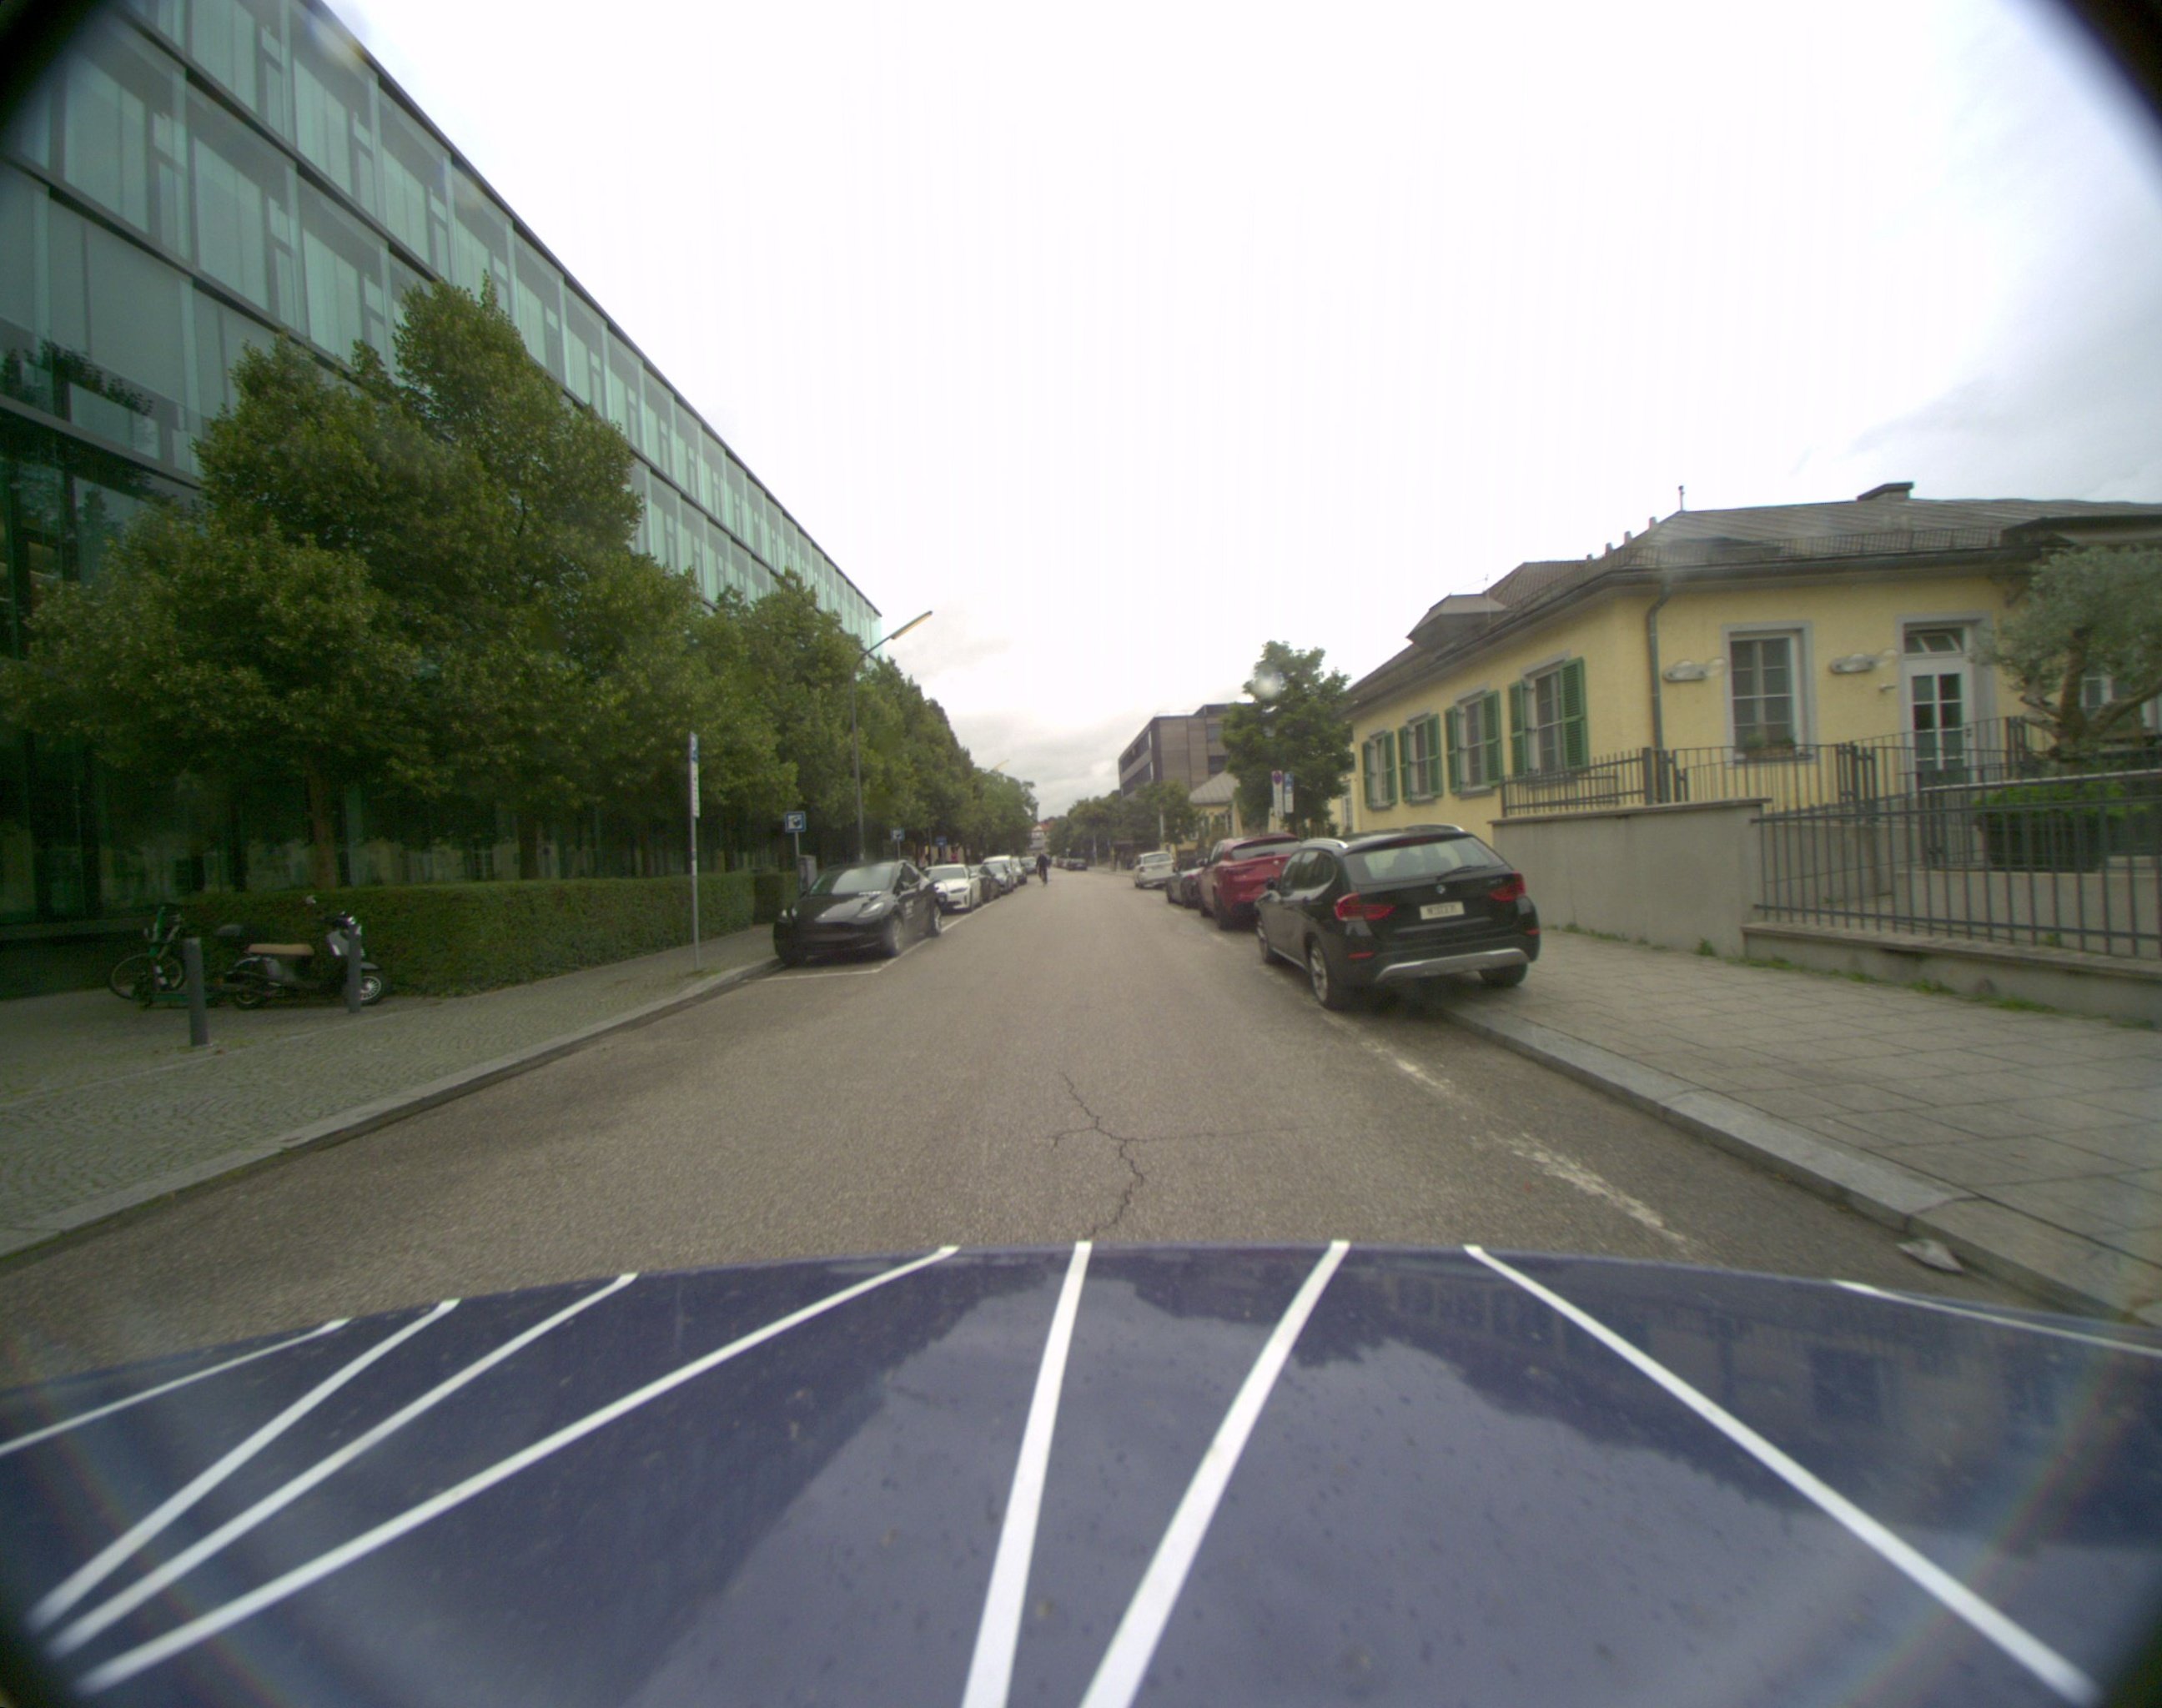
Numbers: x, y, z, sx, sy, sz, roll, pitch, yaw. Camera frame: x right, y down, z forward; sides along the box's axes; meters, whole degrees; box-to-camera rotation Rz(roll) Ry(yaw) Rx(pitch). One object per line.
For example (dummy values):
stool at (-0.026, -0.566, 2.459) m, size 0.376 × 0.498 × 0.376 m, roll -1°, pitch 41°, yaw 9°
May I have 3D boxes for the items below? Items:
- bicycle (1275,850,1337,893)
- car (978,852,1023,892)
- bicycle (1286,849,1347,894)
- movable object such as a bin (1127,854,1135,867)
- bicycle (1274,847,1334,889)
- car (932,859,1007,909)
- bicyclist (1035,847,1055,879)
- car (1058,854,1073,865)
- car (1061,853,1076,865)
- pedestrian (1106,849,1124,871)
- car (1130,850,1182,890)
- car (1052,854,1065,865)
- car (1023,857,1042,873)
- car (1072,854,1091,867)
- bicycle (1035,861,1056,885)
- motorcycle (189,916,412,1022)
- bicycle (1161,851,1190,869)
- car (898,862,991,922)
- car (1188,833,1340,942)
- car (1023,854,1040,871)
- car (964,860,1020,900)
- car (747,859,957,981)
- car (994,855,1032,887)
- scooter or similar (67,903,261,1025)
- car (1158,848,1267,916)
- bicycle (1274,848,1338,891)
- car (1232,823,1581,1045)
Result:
bicycle at (6.512, 0.502, 22.003) m, size 1.633 × 1.130 × 0.387 m, roll -3°, pitch 1°, yaw -1°
car at (-4.234, 0.892, 40.697) m, size 1.789 × 1.884 × 4.574 m, roll -4°, pitch 0°, yaw 0°
bicycle at (6.636, 0.484, 21.455) m, size 1.494 × 1.142 × 0.642 m, roll -4°, pitch 0°, yaw 2°
movable object such as a bin at (4.696, 0.610, 71.503) m, size 0.615 × 1.102 × 0.460 m, roll -5°, pitch 1°, yaw -4°
bicycle at (6.766, 0.411, 23.083) m, size 1.632 × 1.166 × 0.466 m, roll -4°, pitch 0°, yaw 8°
car at (-4.124, 1.059, 28.928) m, size 1.967 × 1.543 × 4.849 m, roll -4°, pitch 0°, yaw 1°
bicyclist at (-1.922, 0.503, 40.959) m, size 0.780 × 1.657 × 1.035 m, roll -5°, pitch -1°, yaw 8°
car at (-2.424, 0.843, 117.732) m, size 1.999 × 1.510 × 3.998 m, roll -5°, pitch 0°, yaw -4°
car at (-1.920, 0.752, 113.209) m, size 1.999 × 1.555 × 3.998 m, roll -3°, pitch 0°, yaw -4°
pedestrian at (3.310, 0.542, 73.926) m, size 1.480 × 2.002 × 1.500 m, roll -5°, pitch 1°, yaw -4°
car at (3.170, 0.628, 32.926) m, size 1.729 × 1.483 × 4.461 m, roll -4°, pitch 0°, yaw 0°
car at (-3.692, 0.901, 124.216) m, size 1.999 × 1.510 × 3.998 m, roll -5°, pitch 0°, yaw -4°
car at (-5.408, 1.210, 84.222) m, size 1.959 × 1.494 × 4.485 m, roll -5°, pitch 0°, yaw -4°
car at (0.016, 0.752, 88.705) m, size 1.929 × 1.390 × 4.485 m, roll -3°, pitch 0°, yaw -4°
bicycle at (-1.889, 1.006, 40.904) m, size 0.720 × 1.199 × 1.802 m, roll -5°, pitch -1°, yaw 7°
motorcycle at (-9.136, 1.330, 8.941) m, size 1.898 × 1.126 × 0.708 m, roll -1°, pitch 1°, yaw 2°
bicycle at (6.586, 0.427, 52.828) m, size 1.847 × 1.028 × 0.466 m, roll -8°, pitch 0°, yaw 0°
car at (-4.058, 1.069, 23.469) m, size 1.999 × 1.451 × 4.956 m, roll -5°, pitch 0°, yaw -2°
car at (3.418, 0.554, 15.193) m, size 1.906 × 1.682 × 4.808 m, roll -4°, pitch 0°, yaw 2°
car at (-5.871, 1.011, 90.275) m, size 1.831 × 1.884 × 4.485 m, roll -5°, pitch 0°, yaw -4°
car at (-3.988, 1.117, 34.819) m, size 1.952 × 1.543 × 5.004 m, roll -5°, pitch 0°, yaw -1°
car at (-3.849, 1.008, 13.929) m, size 1.998 × 1.621 × 5.100 m, roll -4°, pitch 0°, yaw 3°
car at (-4.120, 1.004, 46.735) m, size 1.872 × 1.681 × 4.784 m, roll -5°, pitch 0°, yaw -1°
scooter or similar at (-10.835, 1.276, 9.019) m, size 1.352 × 1.295 × 0.670 m, roll -1°, pitch 2°, yaw -3°
car at (3.388, 0.673, 20.589) m, size 1.901 × 1.510 × 4.654 m, roll -5°, pitch 0°, yaw -2°
bicycle at (6.617, 0.458, 22.379) m, size 1.705 × 1.165 × 0.352 m, roll -3°, pitch 1°, yaw -1°
car at (2.996, 0.615, 8.285) m, size 1.850 × 1.598 × 4.743 m, roll -4°, pitch 0°, yaw 3°
